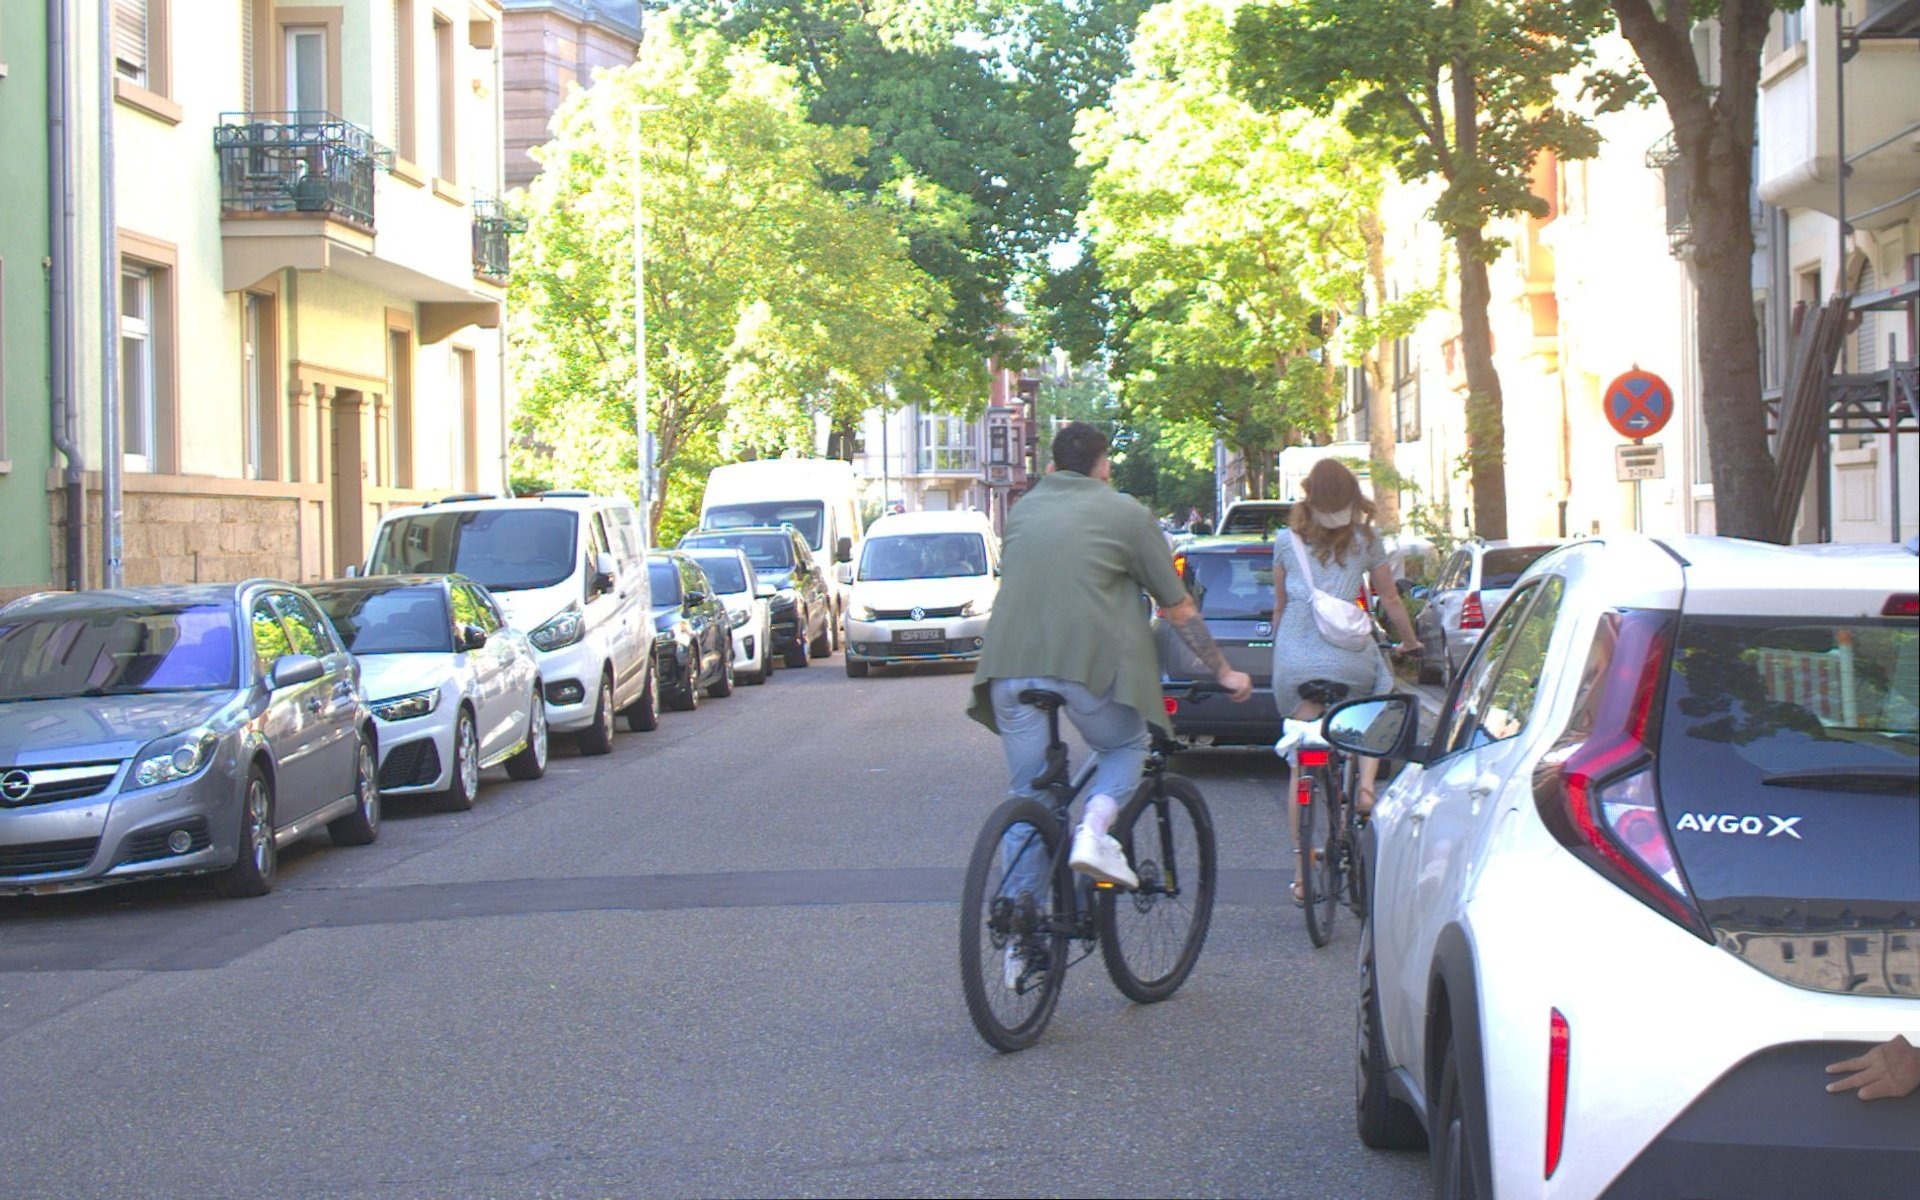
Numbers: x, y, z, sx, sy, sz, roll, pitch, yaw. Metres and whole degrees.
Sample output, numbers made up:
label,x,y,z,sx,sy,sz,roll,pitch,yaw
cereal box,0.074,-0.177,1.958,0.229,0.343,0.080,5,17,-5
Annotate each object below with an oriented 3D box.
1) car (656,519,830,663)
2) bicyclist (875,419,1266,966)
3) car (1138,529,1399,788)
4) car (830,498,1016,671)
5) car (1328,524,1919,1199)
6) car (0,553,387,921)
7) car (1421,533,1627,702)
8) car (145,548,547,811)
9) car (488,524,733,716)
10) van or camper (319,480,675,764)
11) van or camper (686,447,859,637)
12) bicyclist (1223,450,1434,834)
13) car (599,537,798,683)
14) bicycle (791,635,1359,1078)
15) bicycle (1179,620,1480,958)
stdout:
label,x,y,z,sx,sy,sz,roll,pitch,yaw
car,-2.655,-0.156,42.898,1.711,1.693,4.000,-1,1,3
bicyclist,0.342,0.285,10.365,0.883,1.556,0.867,-2,-2,25
car,1.999,0.314,22.518,1.557,1.527,3.486,1,2,5
car,-0.372,-0.200,39.780,1.782,1.854,4.199,-1,1,4
car,1.711,0.633,7.027,1.675,1.540,3.403,1,1,3
car,-4.133,0.589,16.509,1.979,1.450,4.114,-5,1,0
car,5.174,0.121,31.846,1.557,1.404,3.380,2,2,5
car,-3.751,0.432,21.601,1.687,1.448,3.710,-1,1,2
car,-3.243,0.135,32.594,1.711,1.678,4.000,-1,1,3
van or camper,-3.557,0.113,27.354,1.993,2.007,4.911,-2,1,2
van or camper,-2.606,-0.840,48.967,1.993,2.544,5.023,-1,1,2
bicyclist,1.392,0.177,12.904,0.623,1.376,0.867,-2,-3,15
car,-2.873,0.072,38.460,1.711,1.499,4.000,-1,1,3
bicycle,0.416,0.707,10.490,0.840,1.145,2.229,2,1,27
bicycle,1.475,0.675,13.326,0.839,1.145,2.231,0,1,14
